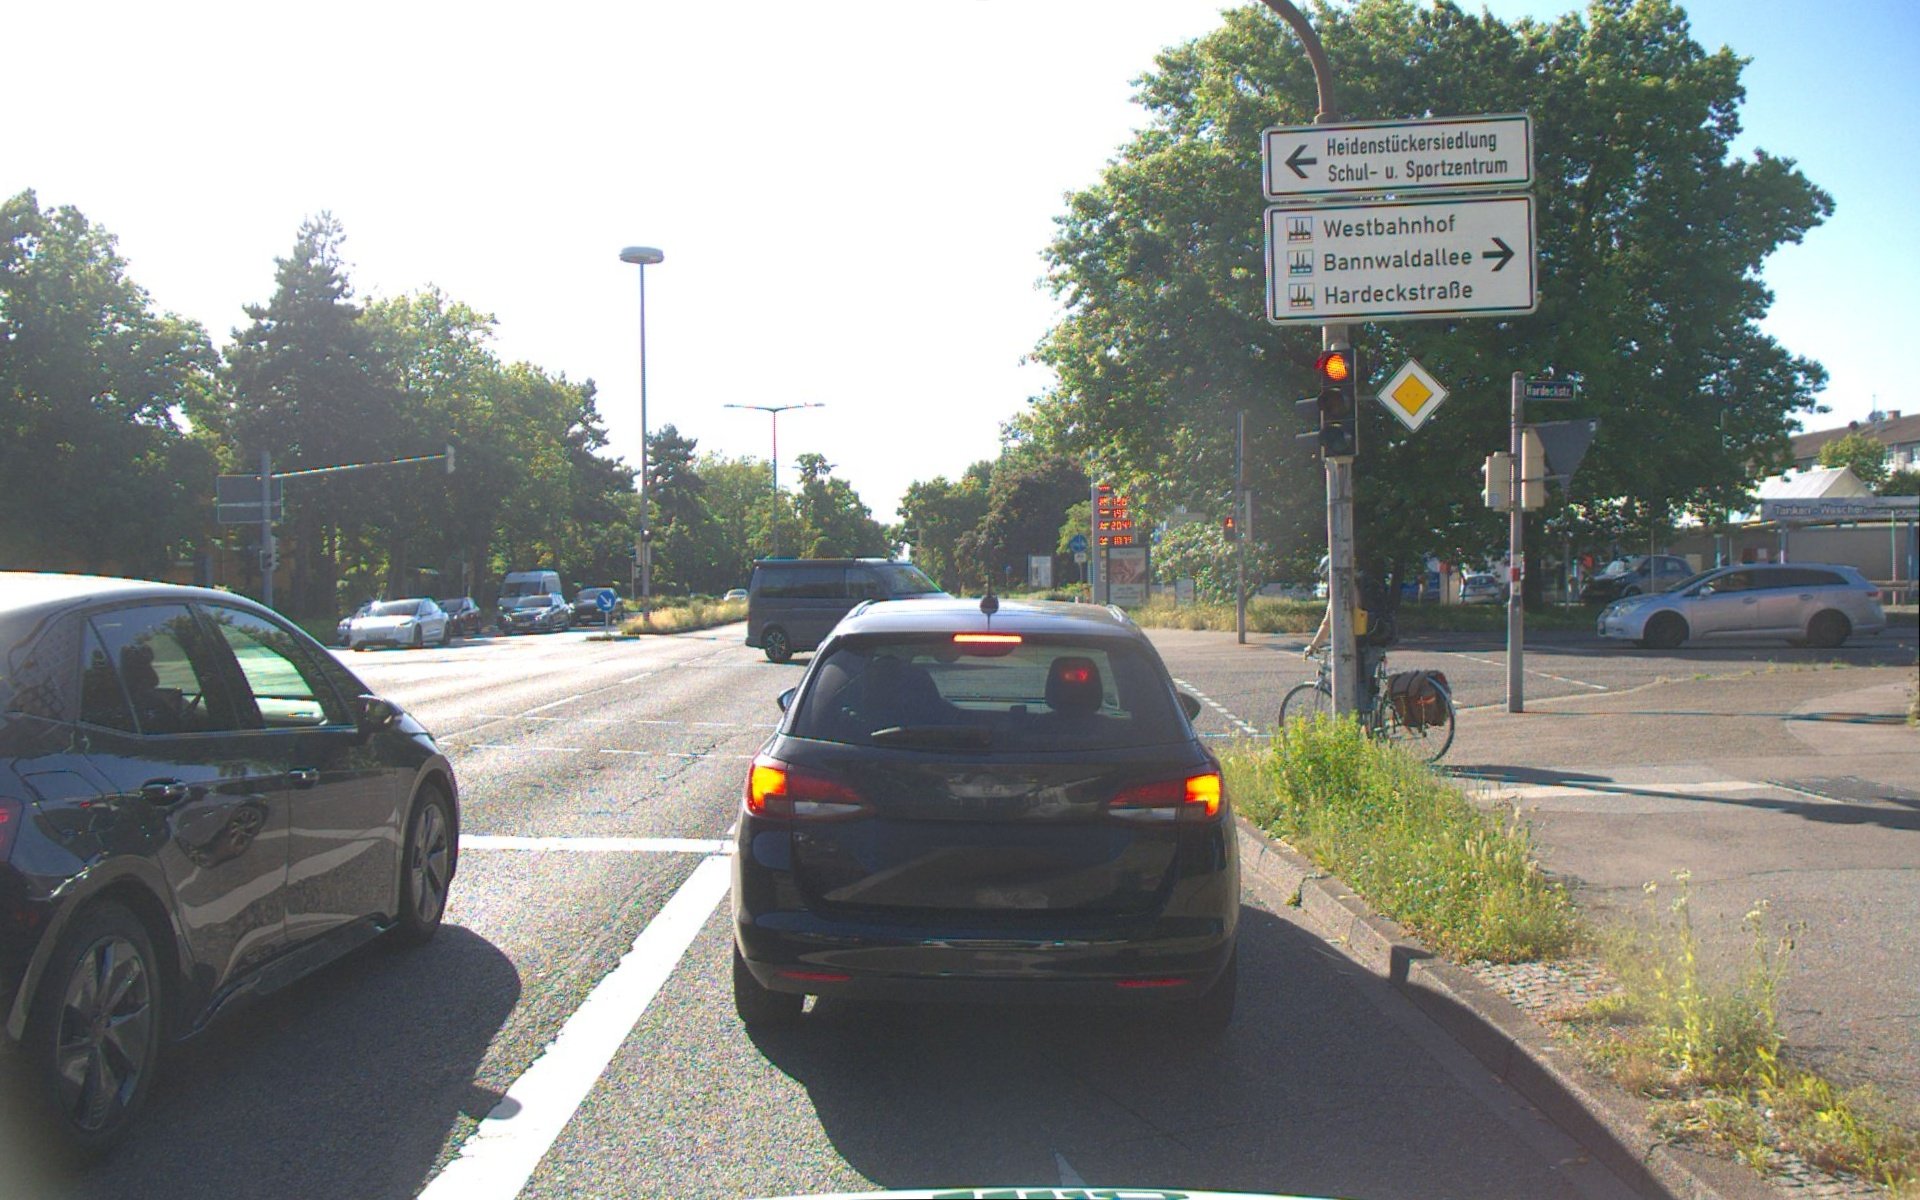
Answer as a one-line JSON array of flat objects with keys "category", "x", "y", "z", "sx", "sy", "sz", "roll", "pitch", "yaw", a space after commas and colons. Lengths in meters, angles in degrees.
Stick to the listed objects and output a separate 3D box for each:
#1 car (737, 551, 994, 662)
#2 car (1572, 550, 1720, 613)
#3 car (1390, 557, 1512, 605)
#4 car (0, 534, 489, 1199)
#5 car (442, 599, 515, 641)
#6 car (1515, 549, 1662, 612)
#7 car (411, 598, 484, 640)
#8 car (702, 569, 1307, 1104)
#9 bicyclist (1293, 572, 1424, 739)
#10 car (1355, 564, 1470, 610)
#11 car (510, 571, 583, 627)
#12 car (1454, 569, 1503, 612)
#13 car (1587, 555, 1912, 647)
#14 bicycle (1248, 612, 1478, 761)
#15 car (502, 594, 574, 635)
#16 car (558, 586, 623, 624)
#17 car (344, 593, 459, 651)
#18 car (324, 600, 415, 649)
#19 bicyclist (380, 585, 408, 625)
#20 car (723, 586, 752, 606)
[{"category": "car", "x": -1.903, "y": 0.132, "z": 32.493, "sx": 4.913, "sy": 2.027, "sz": 1.911, "roll": -1, "pitch": 0, "yaw": 35}, {"category": "car", "x": 19.988, "y": -0.538, "z": 48.196, "sx": 3.934, "sy": 1.709, "sz": 1.732, "roll": -2, "pitch": 0, "yaw": -24}, {"category": "car", "x": 16.908, "y": -0.655, "z": 56.984, "sx": 3.837, "sy": 1.544, "sz": 1.732, "roll": -2, "pitch": 0, "yaw": -24}, {"category": "car", "x": -2.999, "y": 0.657, "z": 5.604, "sx": 1.650, "sy": 1.608, "sz": 4.206, "roll": 0, "pitch": 0, "yaw": -1}, {"category": "car", "x": -18.417, "y": 0.733, "z": 63.431, "sx": 1.607, "sy": 1.481, "sz": 4.221, "roll": -1, "pitch": 0, "yaw": -1}, {"category": "car", "x": 19.005, "y": -0.587, "z": 50.032, "sx": 3.935, "sy": 1.780, "sz": 1.985, "roll": -2, "pitch": 1, "yaw": -24}, {"category": "car", "x": -20.171, "y": 0.708, "z": 65.216, "sx": 1.652, "sy": 1.535, "sz": 4.003, "roll": -1, "pitch": 0, "yaw": -1}, {"category": "car", "x": 0.102, "y": 0.682, "z": 6.836, "sx": 1.721, "sy": 1.521, "sz": 4.206, "roll": 0, "pitch": 0, "yaw": -1}, {"category": "bicyclist", "x": 3.216, "y": 0.447, "z": 13.370, "sx": 0.534, "sy": 1.299, "sz": 0.816, "roll": -2, "pitch": -2, "yaw": -44}, {"category": "car", "x": 16.431, "y": -0.468, "z": 60.060, "sx": 3.837, "sy": 1.544, "sz": 1.732, "roll": -2, "pitch": 0, "yaw": -24}, {"category": "car", "x": -19.988, "y": -0.070, "z": 80.243, "sx": 2.057, "sy": 2.536, "sz": 6.003, "roll": -1, "pitch": 0, "yaw": -1}, {"category": "car", "x": 21.949, "y": -0.410, "z": 70.124, "sx": 1.702, "sy": 1.709, "sz": 4.003, "roll": -1, "pitch": 0, "yaw": 14}, {"category": "car", "x": 13.995, "y": 0.019, "z": 29.616, "sx": 4.897, "sy": 1.512, "sz": 2.002, "roll": -1, "pitch": 0, "yaw": 11}, {"category": "bicycle", "x": 3.226, "y": 0.698, "z": 13.370, "sx": 0.533, "sy": 1.117, "sz": 1.748, "roll": -2, "pitch": -2, "yaw": -44}, {"category": "car", "x": -16.378, "y": 0.533, "z": 64.433, "sx": 1.652, "sy": 1.458, "sz": 4.614, "roll": -1, "pitch": 0, "yaw": -1}, {"category": "car", "x": -16.751, "y": 0.202, "z": 75.239, "sx": 1.953, "sy": 1.629, "sz": 4.615, "roll": -1, "pitch": 0, "yaw": -1}, {"category": "car", "x": -16.183, "y": 0.607, "z": 48.188, "sx": 1.850, "sy": 1.551, "sz": 4.503, "roll": -1, "pitch": 0, "yaw": -1}, {"category": "car", "x": -19.973, "y": 0.806, "z": 56.116, "sx": 1.652, "sy": 1.535, "sz": 4.003, "roll": -1, "pitch": 0, "yaw": -1}, {"category": "bicyclist", "x": -24.615, "y": 0.205, "z": 71.964, "sx": 0.859, "sy": 1.677, "sz": 1.198, "roll": -2, "pitch": 0, "yaw": -6}, {"category": "car", "x": -17.796, "y": -0.315, "z": 132.444, "sx": 1.740, "sy": 1.488, "sz": 4.164, "roll": -1, "pitch": 0, "yaw": -1}]
